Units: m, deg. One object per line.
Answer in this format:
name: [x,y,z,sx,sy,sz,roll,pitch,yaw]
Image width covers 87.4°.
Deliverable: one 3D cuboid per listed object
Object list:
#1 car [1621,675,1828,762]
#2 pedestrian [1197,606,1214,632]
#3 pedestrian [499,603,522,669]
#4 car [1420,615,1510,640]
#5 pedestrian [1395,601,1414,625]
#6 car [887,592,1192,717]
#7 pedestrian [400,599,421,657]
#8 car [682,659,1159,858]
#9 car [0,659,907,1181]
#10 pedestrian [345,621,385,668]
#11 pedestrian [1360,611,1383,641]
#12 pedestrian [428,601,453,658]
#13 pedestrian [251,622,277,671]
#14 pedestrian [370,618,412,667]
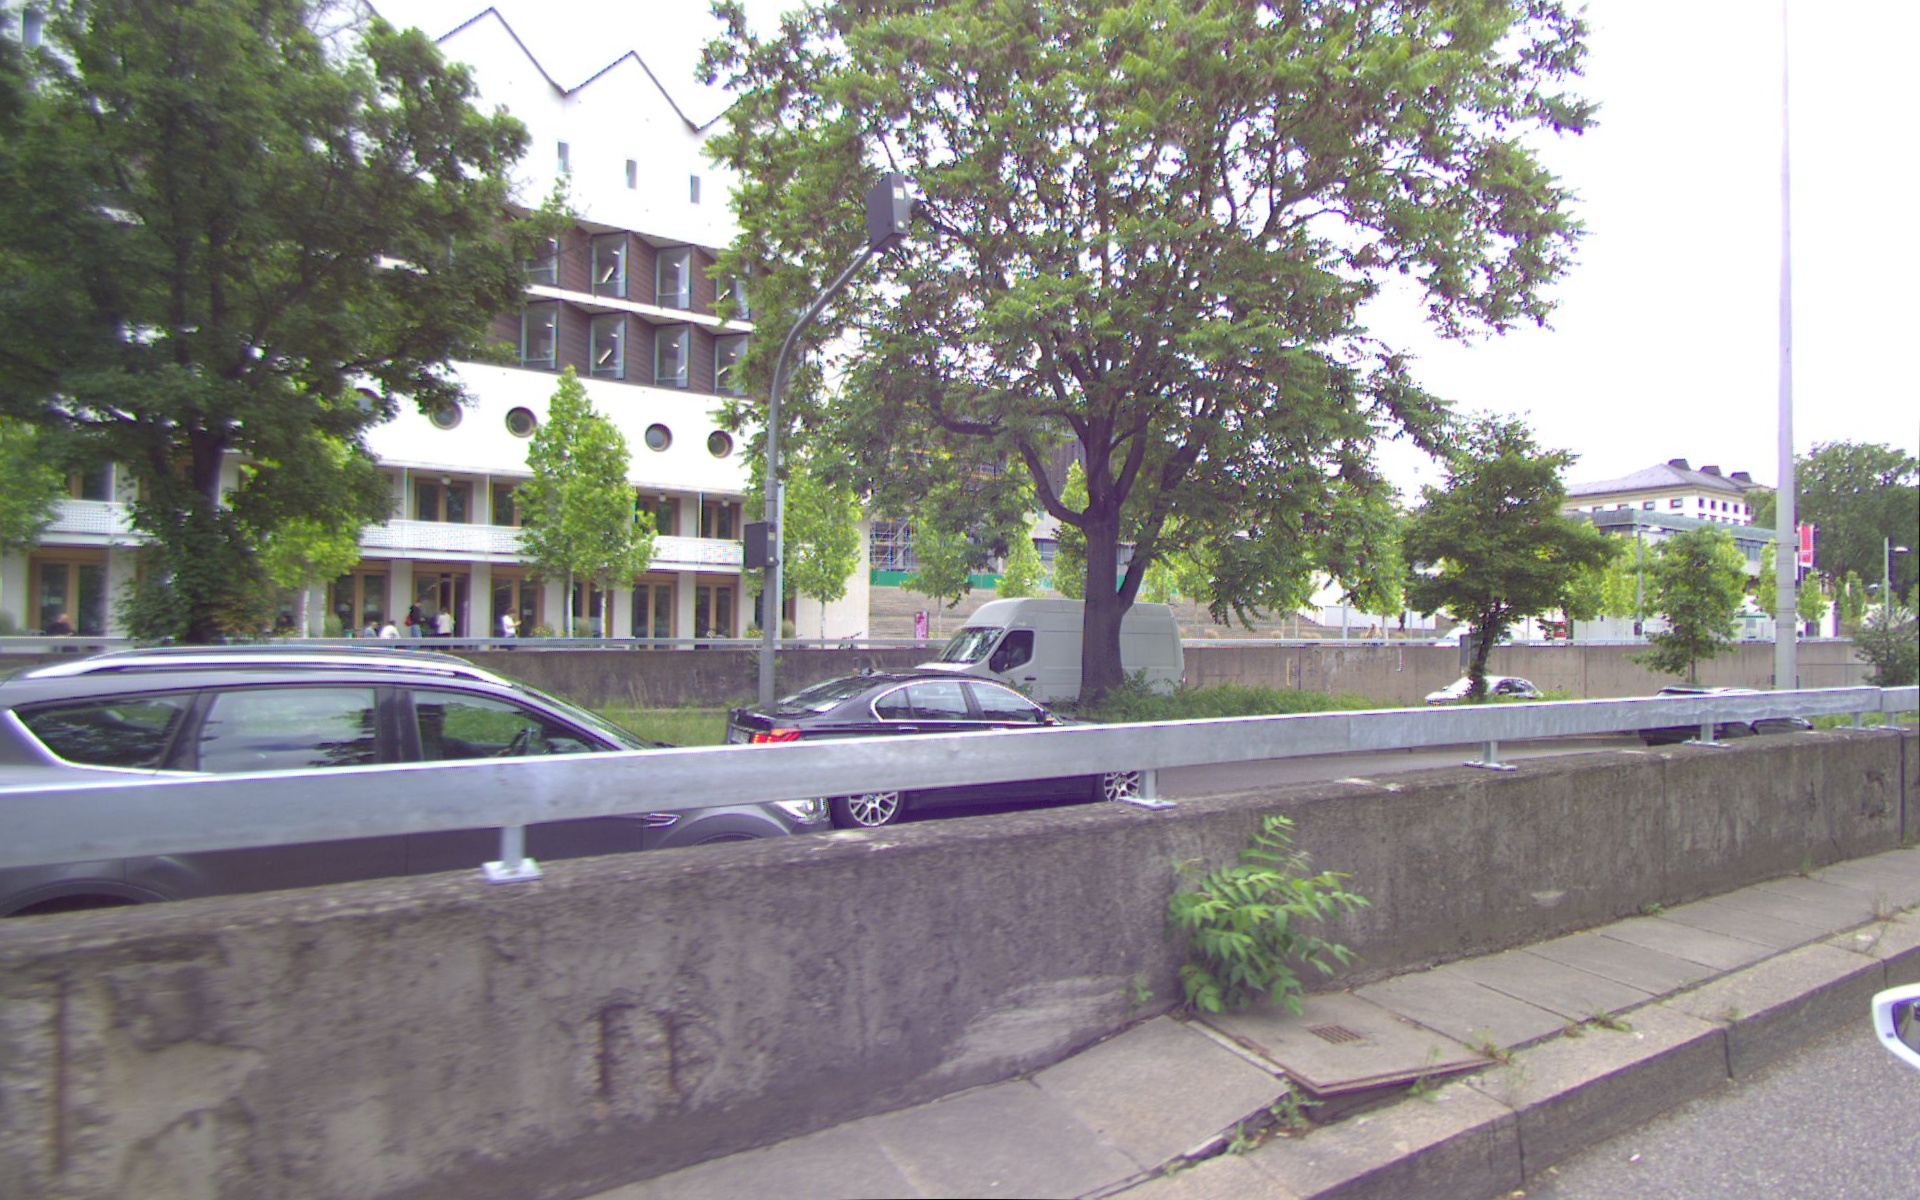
car: [16.585,2.480,21.726,4.804,1.479,1.804,1,0,-29]
pedestrian: [16.558,1.301,67.723,0.849,1.662,0.638,1,4,-31]
pedestrian: [-14.301,1.154,31.950,0.623,2.037,0.630,1,-9,-29]
car: [25.258,1.360,50.202,4.754,1.133,1.799,1,1,-32]
pedestrian: [32.579,0.987,73.616,0.991,1.662,0.638,1,7,-31]
car: [1.723,1.024,20.210,6.143,2.194,1.964,1,0,-32]
pedestrian: [-19.946,1.016,36.468,0.623,2.037,0.630,1,-9,-29]
car: [-0.317,1.477,10.707,4.756,1.502,1.983,0,-1,-32]
car: [-2.744,1.308,5.426,4.607,1.738,1.883,0,0,-33]
pedestrian: [-20.263,1.526,34.220,0.622,1.542,0.912,-1,-5,18]
pedestrian: [22.781,1.434,55.597,0.993,1.662,0.731,0,0,-31]
pedestrian: [-19.288,1.115,37.318,0.731,2.037,0.707,2,-10,-33]
pedestrian: [-23.840,1.589,34.415,0.623,1.655,0.629,1,-1,-29]
pedestrian: [-19.388,1.451,34.238,0.622,1.542,0.913,4,-5,18]
